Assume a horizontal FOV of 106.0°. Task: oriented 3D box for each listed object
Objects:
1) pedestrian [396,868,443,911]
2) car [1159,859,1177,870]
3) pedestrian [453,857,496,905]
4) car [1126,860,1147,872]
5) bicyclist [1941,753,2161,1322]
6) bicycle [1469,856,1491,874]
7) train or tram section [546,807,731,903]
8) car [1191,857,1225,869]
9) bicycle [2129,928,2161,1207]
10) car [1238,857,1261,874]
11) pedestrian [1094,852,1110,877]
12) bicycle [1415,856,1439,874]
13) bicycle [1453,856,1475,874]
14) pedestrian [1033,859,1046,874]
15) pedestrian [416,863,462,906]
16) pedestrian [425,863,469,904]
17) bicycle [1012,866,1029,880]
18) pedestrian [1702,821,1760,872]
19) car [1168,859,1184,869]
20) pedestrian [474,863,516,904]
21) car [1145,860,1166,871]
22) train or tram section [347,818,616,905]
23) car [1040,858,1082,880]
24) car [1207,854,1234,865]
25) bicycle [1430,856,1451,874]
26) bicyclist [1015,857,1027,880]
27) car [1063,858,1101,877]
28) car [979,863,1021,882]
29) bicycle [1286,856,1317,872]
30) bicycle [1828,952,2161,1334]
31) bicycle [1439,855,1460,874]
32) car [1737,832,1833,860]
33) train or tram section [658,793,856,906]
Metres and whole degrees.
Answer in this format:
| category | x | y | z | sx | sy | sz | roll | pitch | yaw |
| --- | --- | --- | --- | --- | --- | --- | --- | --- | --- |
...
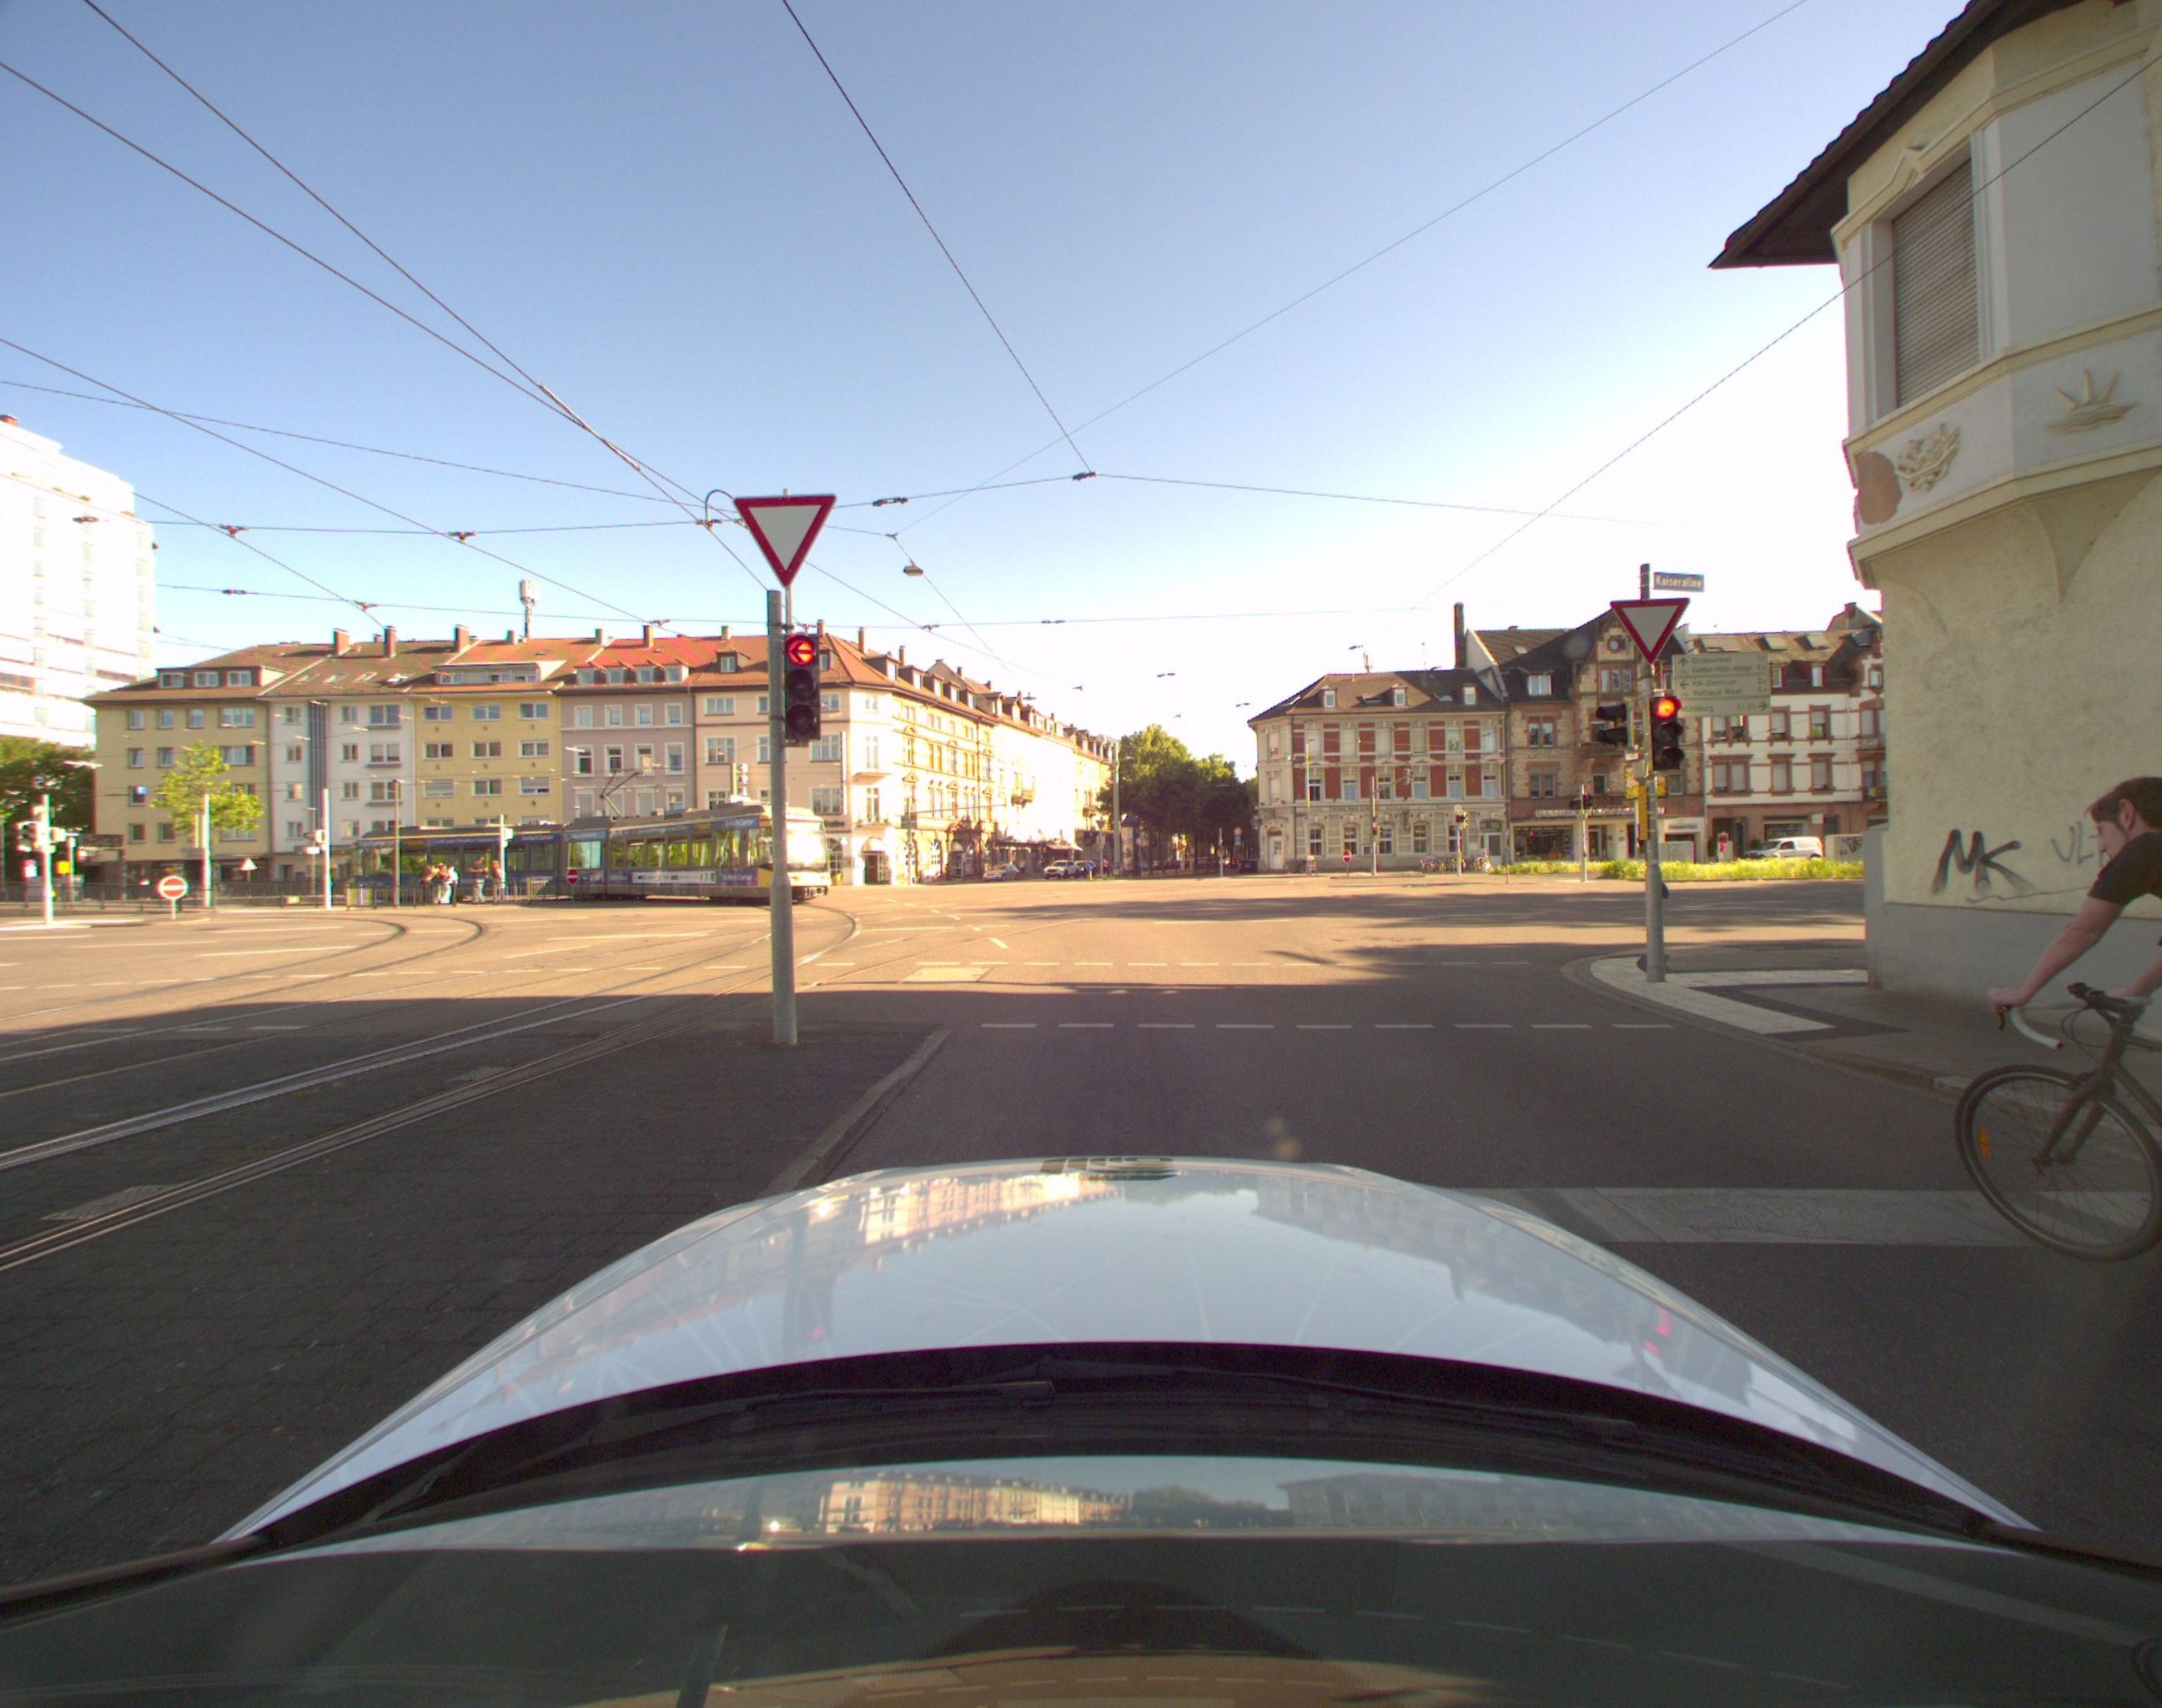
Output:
| category | x | y | z | sx | sy | sz | roll | pitch | yaw |
| --- | --- | --- | --- | --- | --- | --- | --- | --- | --- |
| pedestrian | -25.000 | 1.331 | 30.771 | 0.930 | 1.598 | 1.015 | -2 | 0 | 21 |
| car | 13.911 | 1.701 | 130.328 | 1.822 | 1.552 | 4.412 | -2 | 0 | 19 |
| pedestrian | -23.033 | 1.000 | 30.940 | 0.939 | 1.775 | 1.006 | -1 | 0 | -11 |
| car | 7.532 | 1.669 | 110.976 | 1.978 | 1.486 | 4.017 | -1 | 0 | 16 |
| bicyclist | 3.601 | 0.561 | 2.589 | 0.559 | 1.754 | 1.102 | -2 | 0 | 4 |
| bicycle | 25.756 | 0.689 | 52.596 | 0.606 | 1.136 | 2.139 | -2 | 0 | 7 |
| train or tram section | -18.126 | 0.105 | 33.152 | 8.352 | 3.500 | 2.842 | -1 | 0 | 32 |
| car | 17.973 | 1.310 | 115.182 | 4.335 | 1.612 | 2.012 | -2 | 0 | 28 |
| bicycle | 4.536 | 0.858 | 2.441 | 0.516 | 1.116 | 1.815 | -2 | 0 | 4 |
| car | 17.015 | 1.141 | 82.212 | 1.978 | 1.585 | 4.017 | -2 | 0 | 16 |
| pedestrian | 1.530 | 0.744 | 58.550 | 1.043 | 1.744 | 0.808 | -1 | 0 | -3 |
| bicycle | 22.500 | 0.701 | 52.983 | 0.802 | 1.143 | 2.178 | -2 | 0 | 7 |
| bicycle | 24.778 | 0.710 | 52.686 | 0.615 | 1.143 | 2.178 | -2 | 0 | 7 |
| pedestrian | -4.270 | 1.270 | 84.123 | 0.921 | 1.535 | 1.142 | -1 | 0 | 16 |
| pedestrian | -24.949 | 1.169 | 31.671 | 0.931 | 1.598 | 1.014 | -2 | 0 | 16 |
| pedestrian | -25.303 | 1.182 | 32.510 | 0.998 | 1.598 | 0.946 | -2 | 0 | 18 |
| bicycle | -4.817 | 1.512 | 65.291 | 0.675 | 1.066 | 2.133 | -2 | 0 | 14 |
| pedestrian | 27.114 | -0.306 | 33.996 | 1.314 | 2.044 | 1.307 | -2 | 0 | 1 |
| car | 15.829 | 1.721 | 136.163 | 1.750 | 1.549 | 4.411 | -2 | 0 | 18 |
| pedestrian | -23.239 | 1.165 | 32.299 | 0.997 | 1.598 | 0.946 | -2 | 0 | 23 |
| car | 11.253 | 1.732 | 122.596 | 1.977 | 1.612 | 4.413 | -2 | 0 | 20 |
| train or tram section | -27.037 | 0.385 | 36.684 | 11.902 | 3.500 | 2.790 | -1 | 0 | 14 |
| car | -1.608 | 1.251 | 67.534 | 1.977 | 1.684 | 4.413 | -2 | 0 | 20 |
| car | 22.830 | 0.971 | 133.299 | 3.948 | 1.706 | 2.013 | -2 | 0 | 32 |
| bicycle | 23.279 | 0.692 | 52.834 | 0.615 | 1.143 | 2.178 | -2 | 0 | 7 |
| bicyclist | -4.813 | 1.132 | 65.334 | 0.674 | 1.820 | 1.075 | -2 | 0 | 14 |
| car | 0.117 | 1.218 | 74.011 | 1.977 | 1.612 | 4.413 | -2 | 0 | 20 |
| car | -6.683 | 1.522 | 67.376 | 1.883 | 1.455 | 4.020 | -2 | 0 | 20 |
| bicycle | 15.500 | 0.723 | 57.185 | 2.081 | 1.124 | 0.366 | 0 | -1 | -3 |
| bicycle | 3.616 | 0.948 | 2.666 | 0.642 | 1.010 | 1.930 | -2 | 0 | 4 |
| bicycle | 23.858 | 0.672 | 52.781 | 0.615 | 1.143 | 2.178 | -2 | 0 | 7 |
| car | 45.358 | -0.480 | 52.551 | 4.317 | 1.640 | 2.152 | -2 | 0 | 1 |
| train or tram section | -11.537 | -0.088 | 28.560 | 7.859 | 3.500 | 2.842 | -1 | 0 | 38 |
